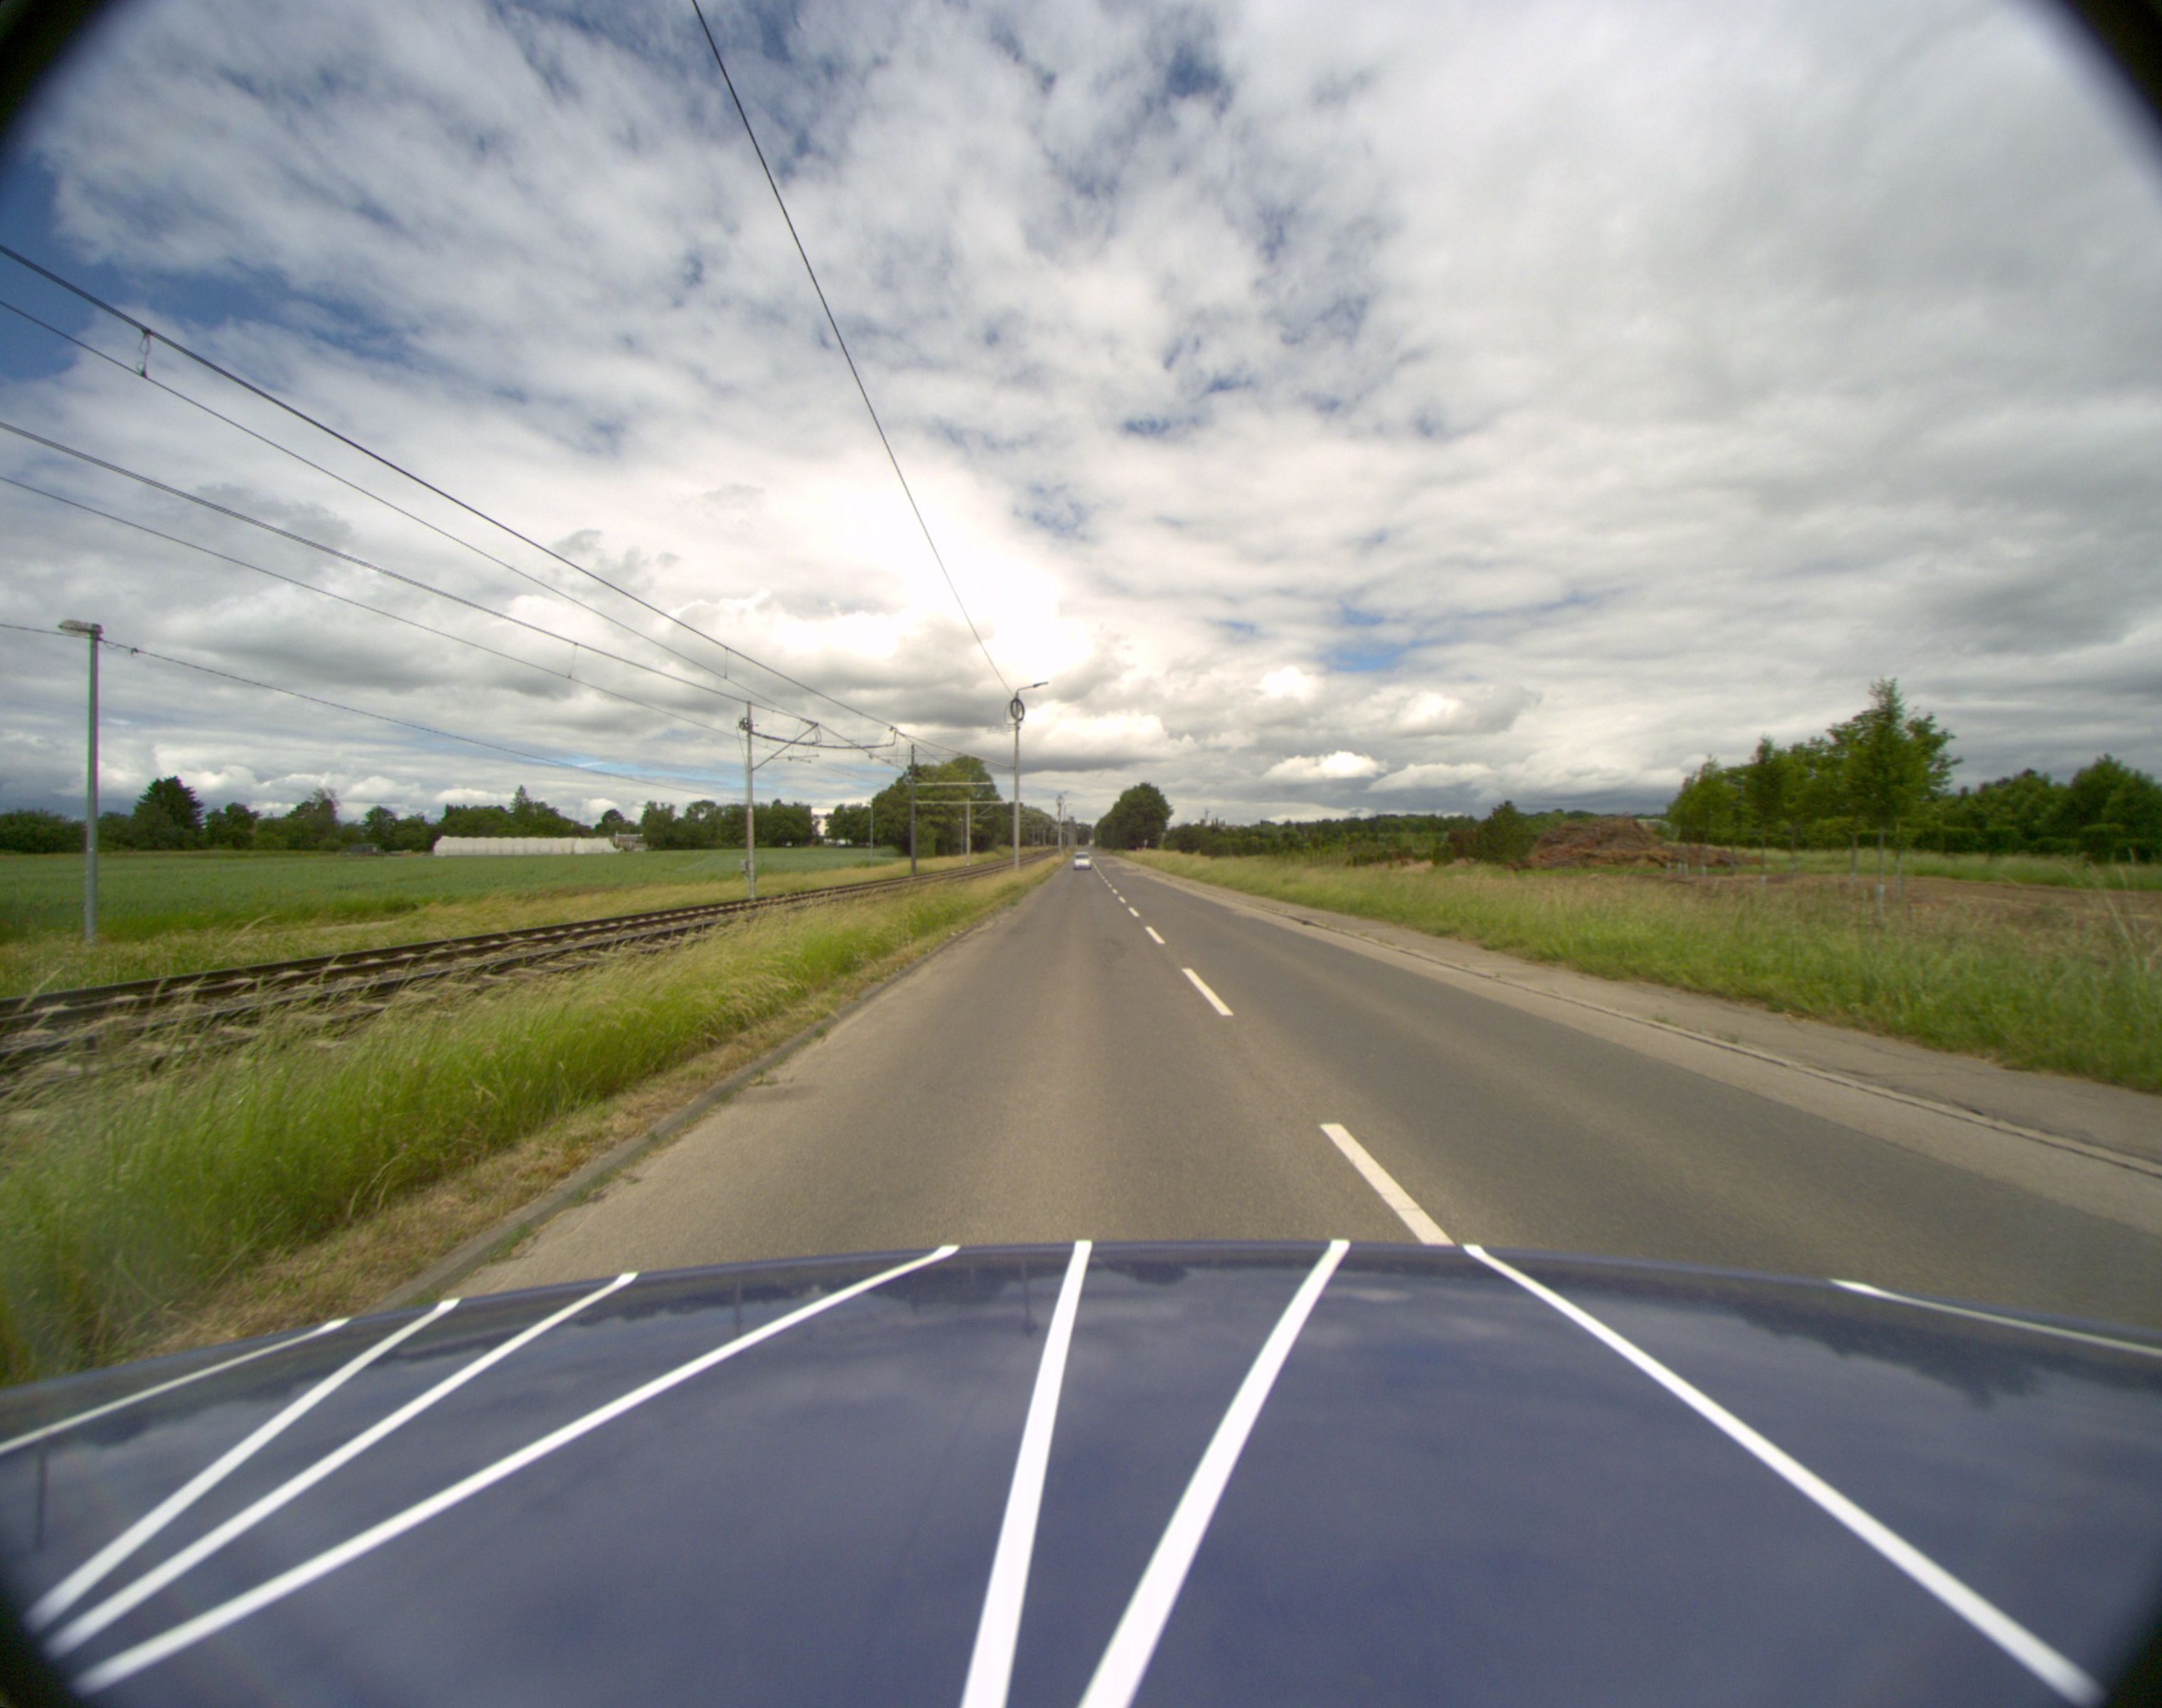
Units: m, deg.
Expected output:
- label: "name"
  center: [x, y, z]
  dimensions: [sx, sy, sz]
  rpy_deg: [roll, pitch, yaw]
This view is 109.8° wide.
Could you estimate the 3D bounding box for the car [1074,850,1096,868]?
- label: "car"
  center: [0.351, 0.444, 73.499]
  dimensions: [1.999, 1.679, 3.999]
  rpy_deg: [-1, 1, -1]
